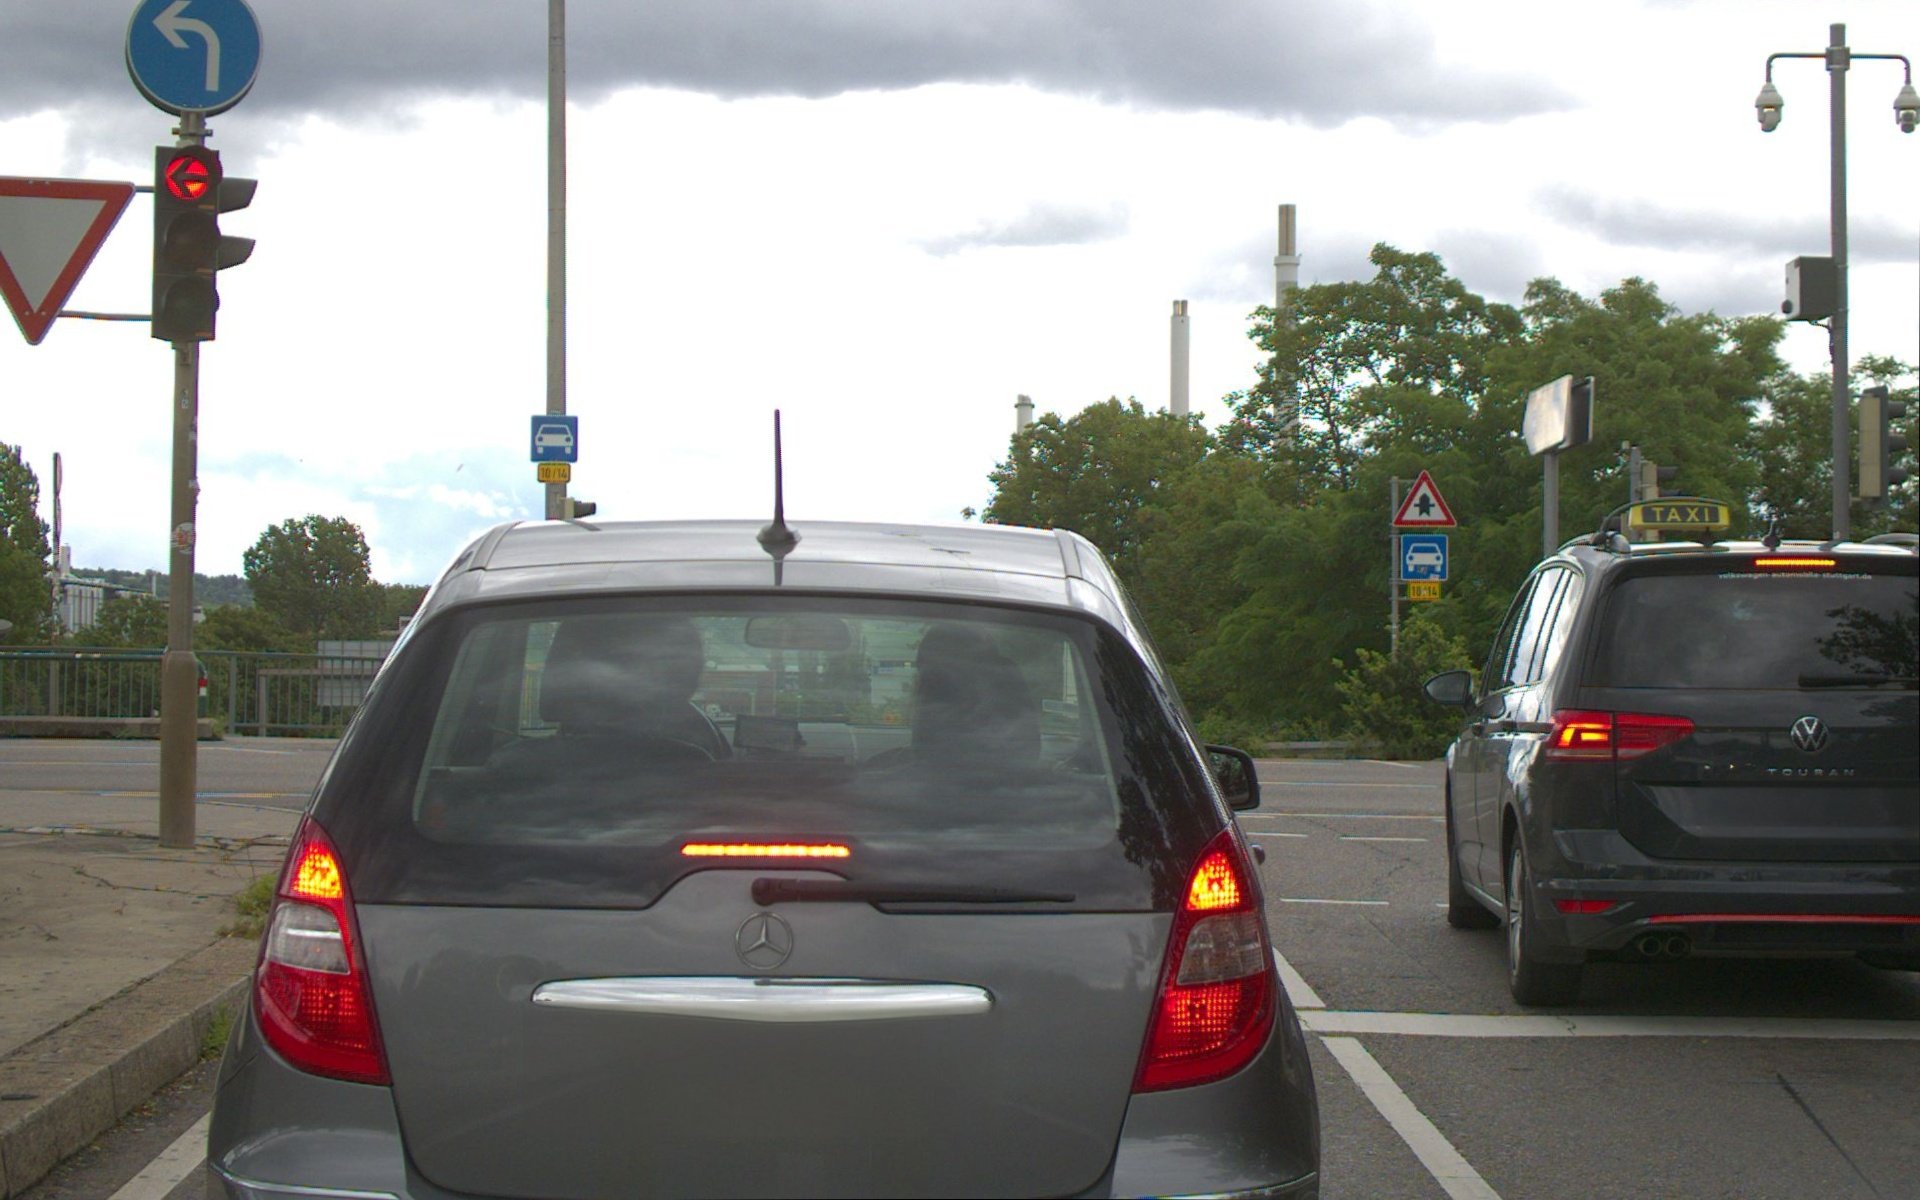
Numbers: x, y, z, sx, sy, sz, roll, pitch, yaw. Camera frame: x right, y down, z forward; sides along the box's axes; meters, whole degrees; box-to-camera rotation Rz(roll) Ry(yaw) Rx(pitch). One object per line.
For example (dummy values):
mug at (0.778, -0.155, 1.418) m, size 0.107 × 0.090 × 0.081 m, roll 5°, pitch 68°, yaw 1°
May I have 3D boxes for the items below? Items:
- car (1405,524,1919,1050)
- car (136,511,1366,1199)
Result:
car at (2.797, 0.575, 12.940) m, size 1.796 × 1.647 × 4.150 m, roll 1°, pitch 1°, yaw 2°
car at (-0.315, 0.636, 6.669) m, size 1.739 × 1.538 × 3.541 m, roll 1°, pitch 1°, yaw 0°
